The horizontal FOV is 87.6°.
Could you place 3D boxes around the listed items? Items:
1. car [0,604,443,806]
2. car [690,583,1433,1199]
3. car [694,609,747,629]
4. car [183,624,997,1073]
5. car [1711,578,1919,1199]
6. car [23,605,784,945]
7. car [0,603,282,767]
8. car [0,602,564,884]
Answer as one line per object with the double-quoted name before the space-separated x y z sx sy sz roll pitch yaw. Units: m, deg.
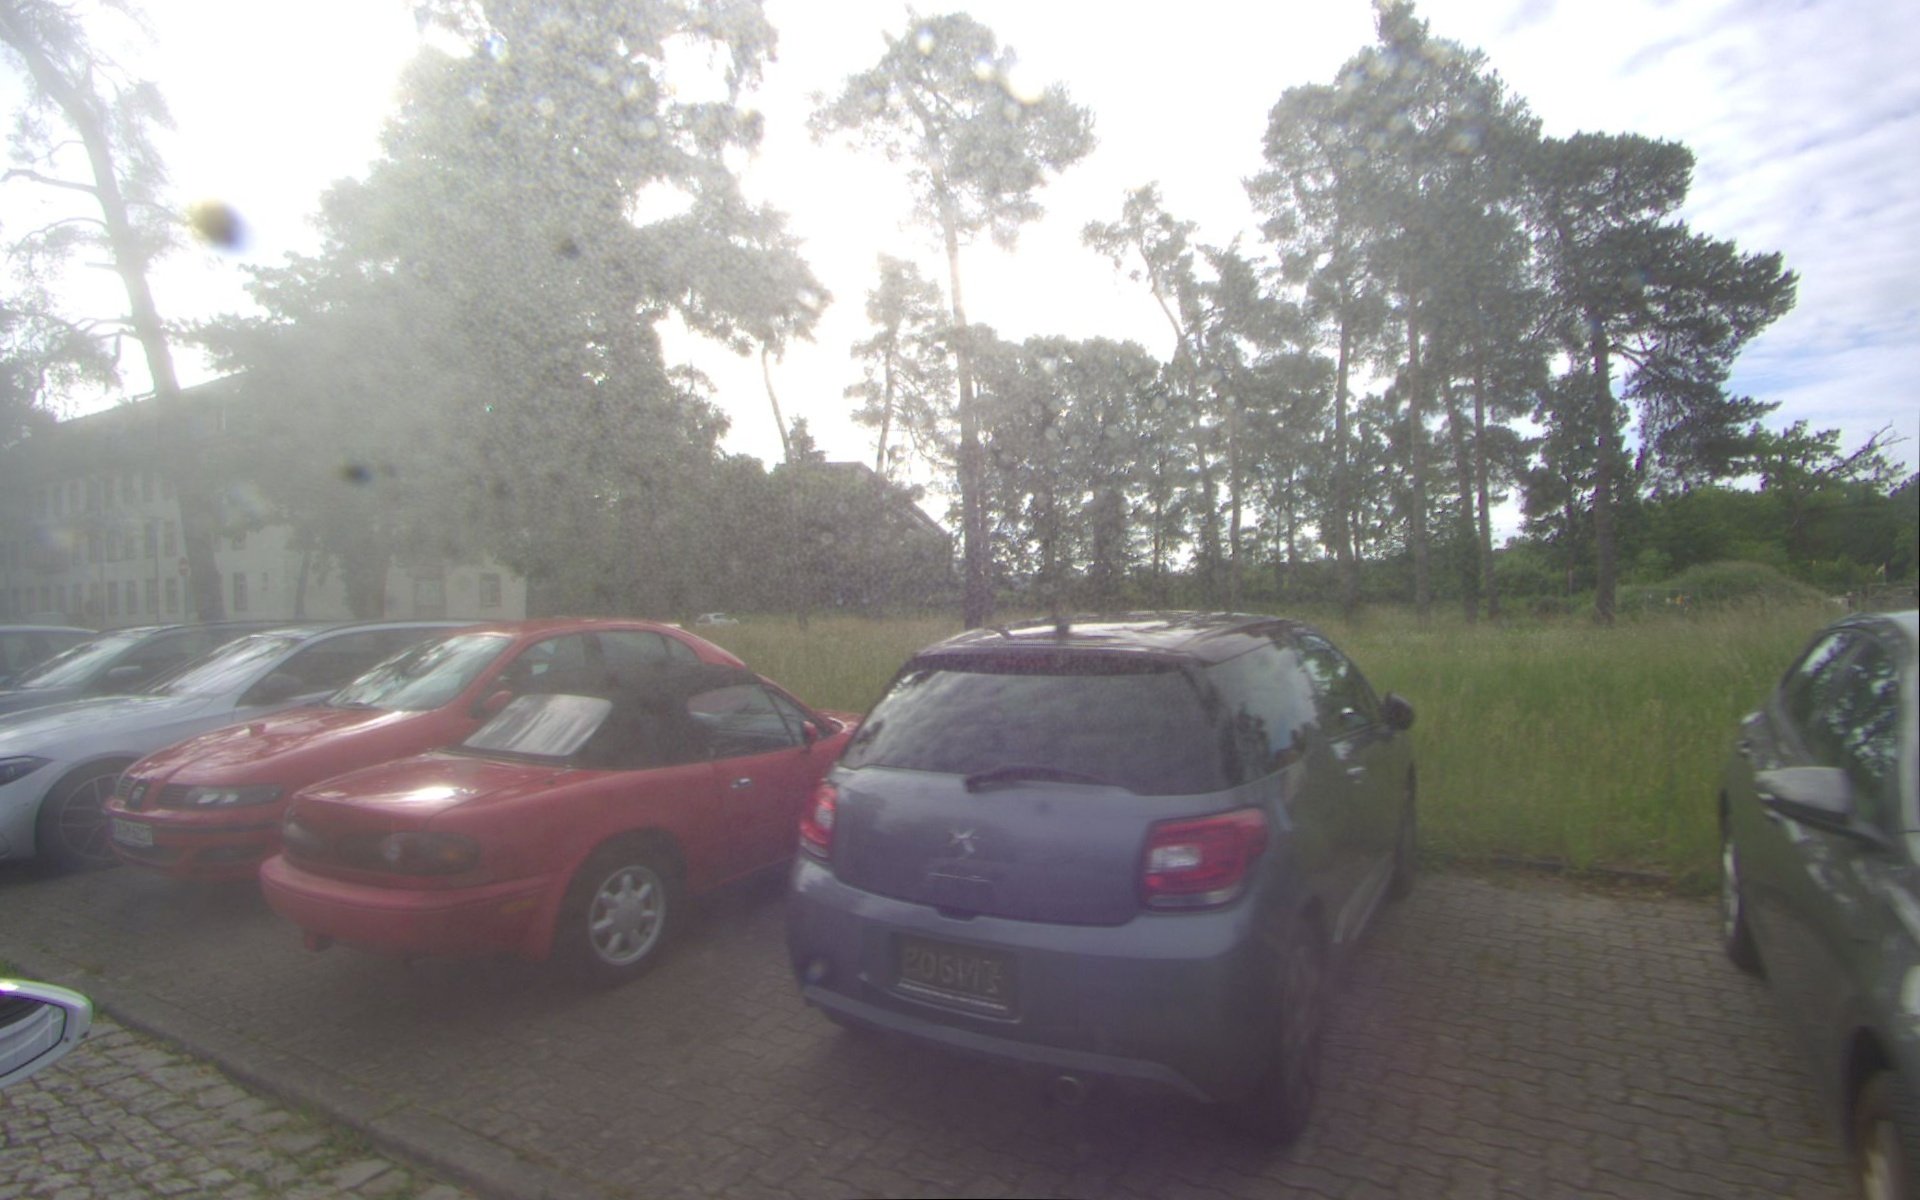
"car" -7.605 0.843 9.355 1.842 1.436 4.674 -1 2 28
"car" 0.903 0.726 4.259 1.731 1.492 3.856 -1 2 29
"car" -18.575 1.494 77.800 1.627 1.439 3.941 -1 -3 33
"car" -1.460 0.859 5.346 1.731 1.253 3.856 -1 2 29
"car" 3.051 0.718 2.264 1.732 1.492 3.854 -1 2 30
"car" -3.346 0.836 6.968 1.843 1.436 4.253 -1 2 30
"car" -9.712 0.862 10.538 1.619 1.497 3.917 0 2 32
"car" -5.448 0.818 7.802 1.839 1.436 4.423 -1 1 22
